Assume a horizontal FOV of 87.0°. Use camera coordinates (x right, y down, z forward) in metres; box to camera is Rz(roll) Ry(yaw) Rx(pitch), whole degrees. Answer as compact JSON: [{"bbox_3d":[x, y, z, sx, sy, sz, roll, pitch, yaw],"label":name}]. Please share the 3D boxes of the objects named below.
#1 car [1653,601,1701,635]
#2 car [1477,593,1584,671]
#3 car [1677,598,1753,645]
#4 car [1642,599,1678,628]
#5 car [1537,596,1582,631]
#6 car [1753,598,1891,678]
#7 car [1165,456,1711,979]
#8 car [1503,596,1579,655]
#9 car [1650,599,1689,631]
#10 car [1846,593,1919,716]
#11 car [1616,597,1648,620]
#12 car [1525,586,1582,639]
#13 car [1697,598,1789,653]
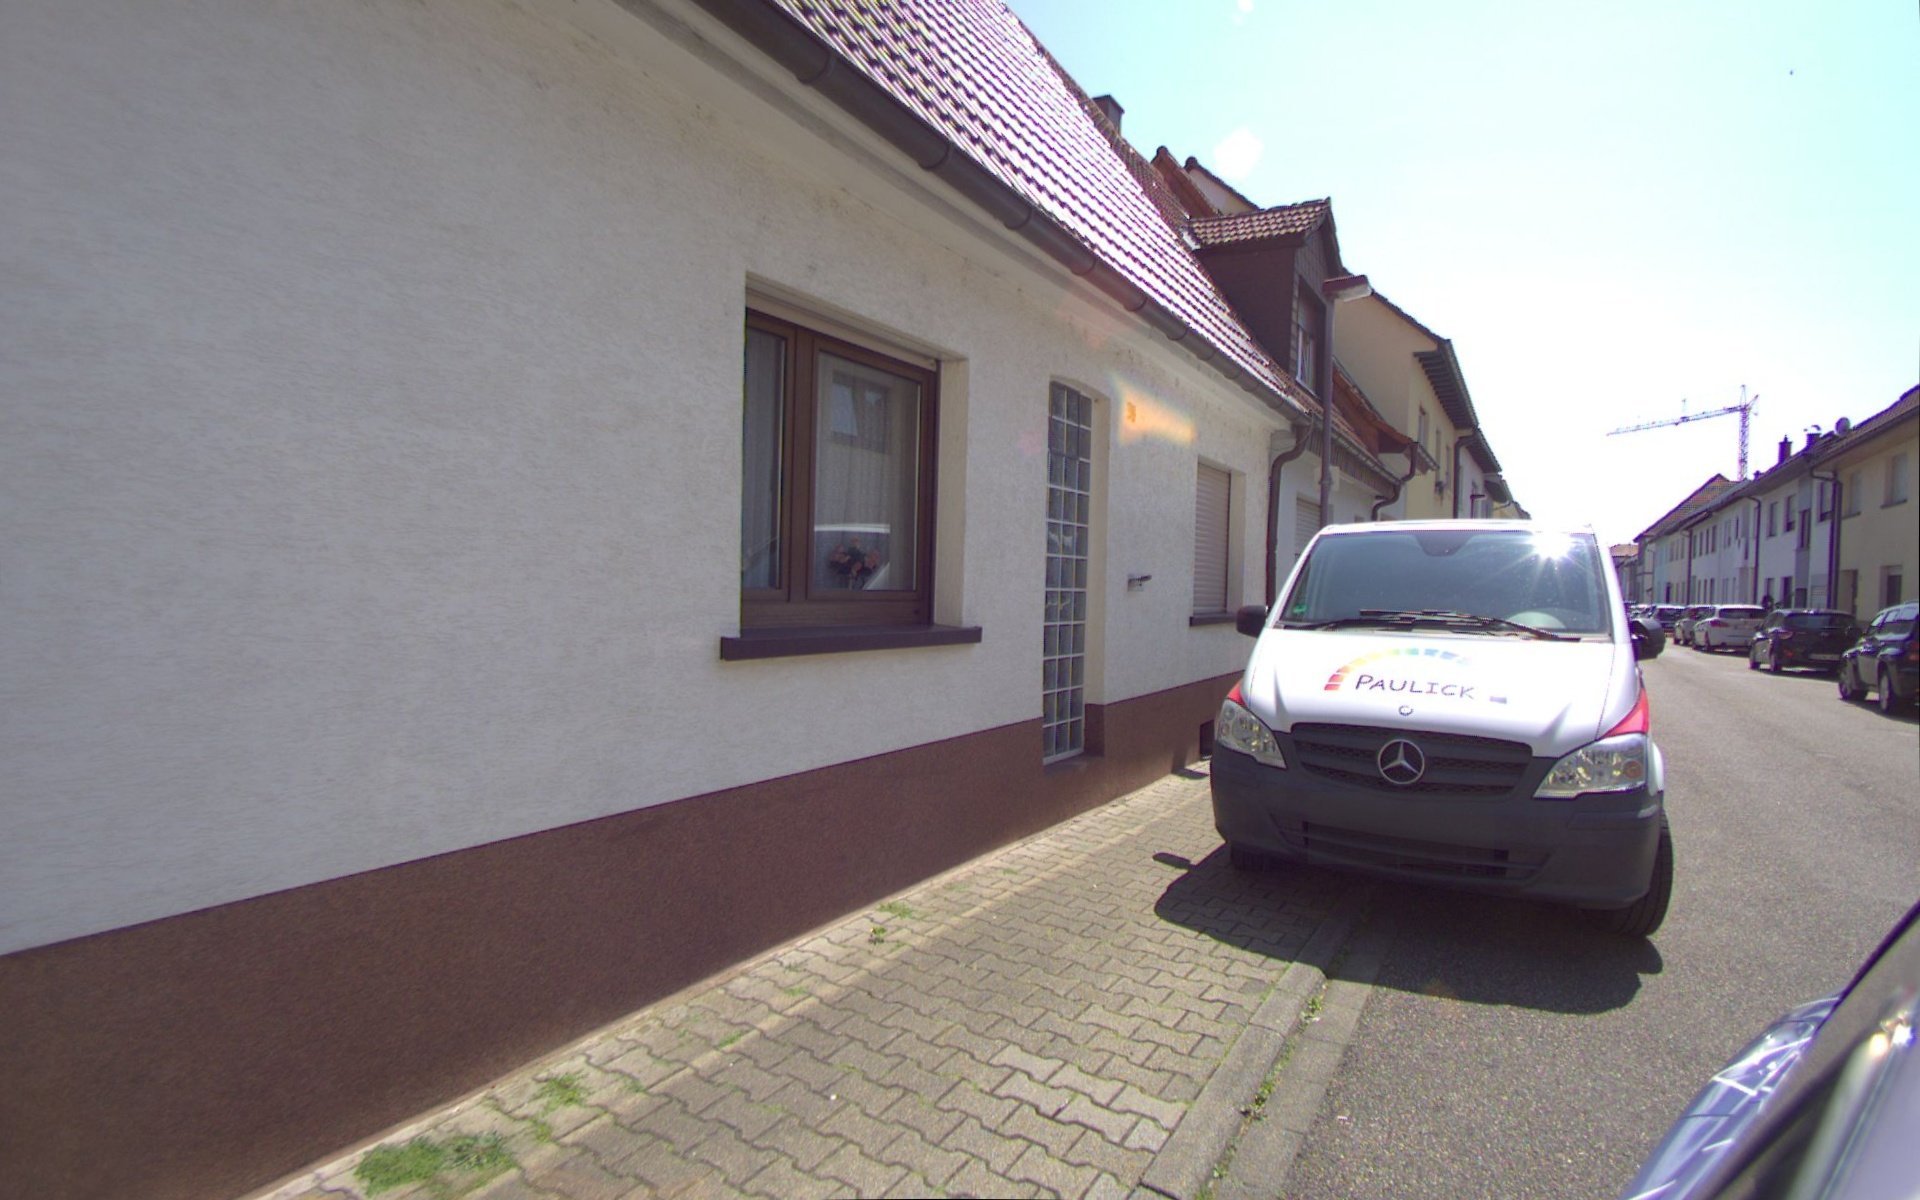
[{"bbox_3d":[34.127,0.827,48.249,1.596,1.460,3.176,4,1,32],"label":"car"},{"bbox_3d":[12.369,0.605,21.971,1.829,1.466,4.726,1,1,30],"label":"car"},{"bbox_3d":[27.860,0.750,37.457,1.653,1.560,3.652,2,1,28],"label":"car"},{"bbox_3d":[39.296,0.752,56.867,1.405,1.473,3.422,4,2,32],"label":"car"},{"bbox_3d":[27.567,0.593,46.531,1.654,1.432,4.201,4,2,31],"label":"car"},{"bbox_3d":[19.720,0.789,23.330,1.632,1.556,3.901,3,2,30],"label":"car"},{"bbox_3d":[3.139,0.382,6.374,2.003,1.862,5.207,1,1,31],"label":"car"},{"bbox_3d":[16.150,0.648,28.182,1.688,1.453,4.059,1,1,30],"label":"car"},{"bbox_3d":[36.689,0.743,52.361,1.405,1.547,2.990,4,2,32],"label":"car"},{"bbox_3d":[14.508,0.764,14.761,1.716,1.635,3.943,4,2,32],"label":"car"},{"bbox_3d":[53.109,0.659,79.979,1.806,1.627,3.845,4,2,31],"label":"car"},{"bbox_3d":[22.081,0.409,37.686,1.688,1.799,4.155,2,2,30],"label":"car"},{"bbox_3d":[25.243,0.767,32.765,1.653,1.568,3.904,3,2,28],"label":"car"}]
